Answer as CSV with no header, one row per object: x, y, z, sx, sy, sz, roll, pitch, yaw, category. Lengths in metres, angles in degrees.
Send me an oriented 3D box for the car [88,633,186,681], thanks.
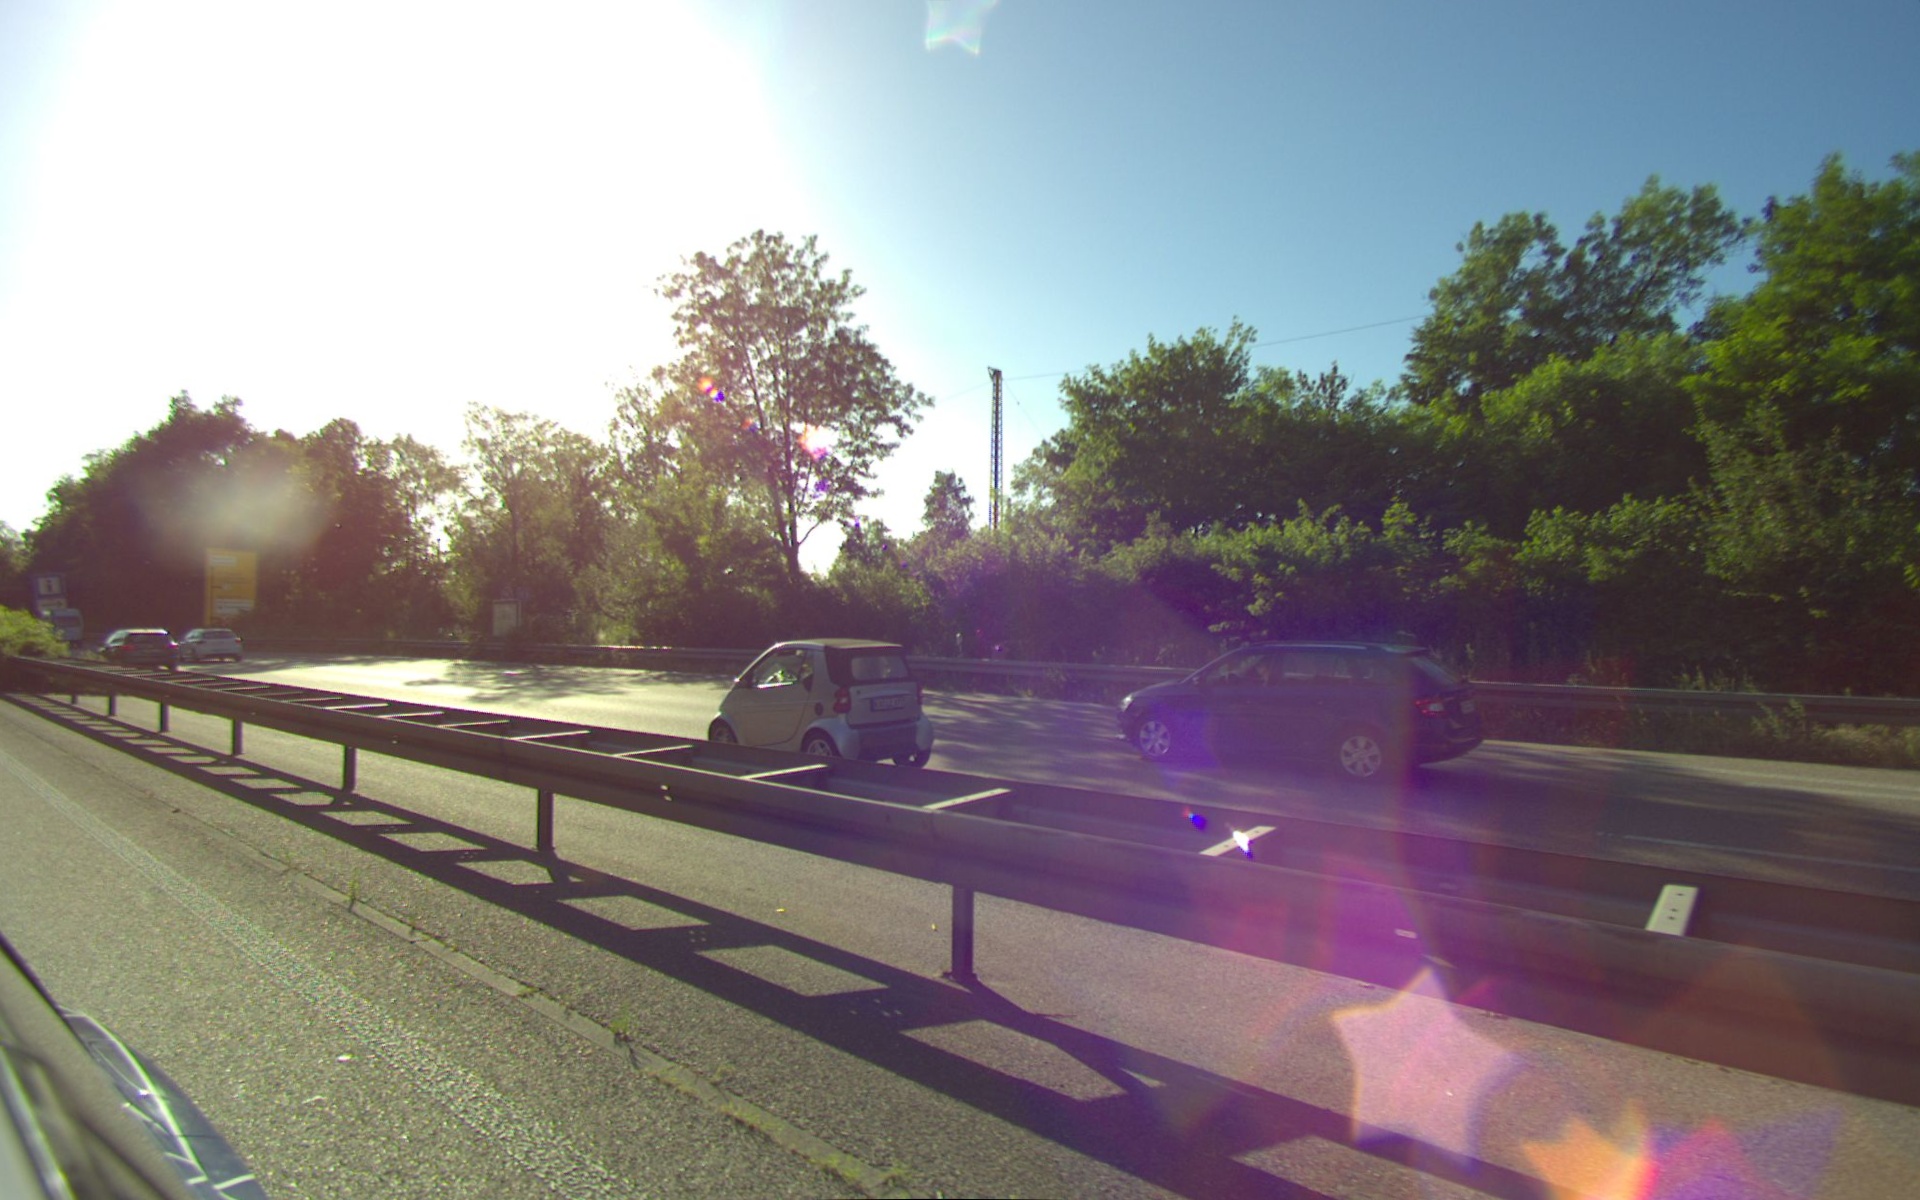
-28.929,1.959,35.527,4.462,1.552,1.940,-2,-1,41,car

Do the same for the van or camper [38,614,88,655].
-62.576,2.400,70.599,5.251,2.743,1.972,-2,-2,42,van or camper

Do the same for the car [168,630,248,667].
-32.890,2.094,44.221,4.324,1.461,1.940,-2,-1,41,car

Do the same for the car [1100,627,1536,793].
4.005,1.104,11.784,4.428,1.552,1.817,-1,-1,41,car

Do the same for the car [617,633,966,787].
-2.205,1.186,12.505,4.462,1.552,1.857,-1,-2,41,car
